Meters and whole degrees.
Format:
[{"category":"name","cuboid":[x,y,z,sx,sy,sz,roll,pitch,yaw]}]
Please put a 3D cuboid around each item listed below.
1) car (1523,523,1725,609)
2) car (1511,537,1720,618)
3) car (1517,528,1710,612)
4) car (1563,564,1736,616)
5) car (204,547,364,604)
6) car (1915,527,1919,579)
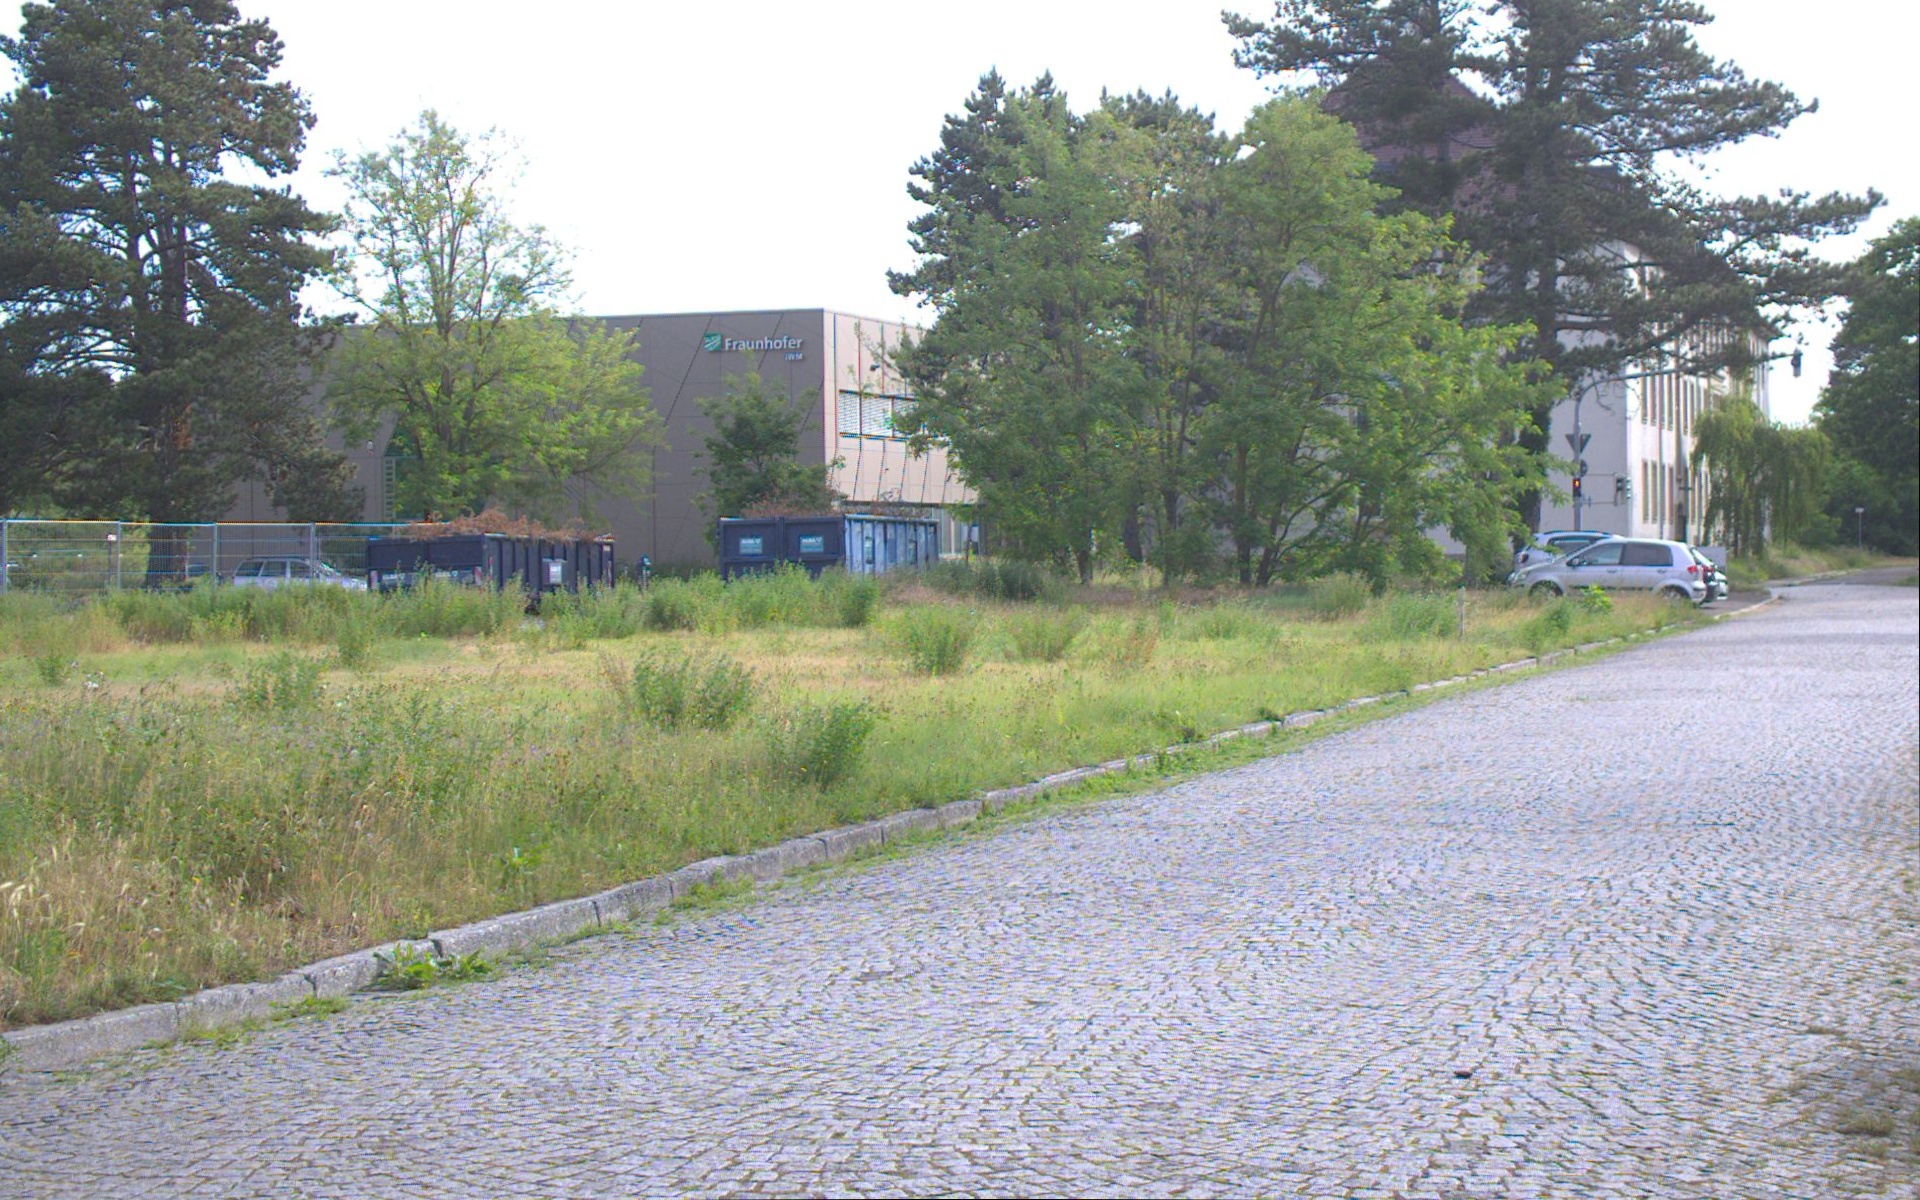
[{"category":"car","cuboid":[13.565,-0.709,70.276,3.989,1.700,1.999,0,1,12]},{"category":"car","cuboid":[12.923,-0.447,67.778,3.989,1.546,1.999,0,1,12]},{"category":"car","cuboid":[13.897,-0.646,73.193,3.989,1.744,1.926,0,1,11]},{"category":"car","cuboid":[15.081,-0.224,75.260,3.672,1.090,1.645,0,1,12]},{"category":"car","cuboid":[-18.924,-0.690,96.246,3.990,1.548,1.807,0,1,17]},{"category":"car","cuboid":[38.979,-1.788,130.363,5.052,2.007,2.000,0,1,7]}]
